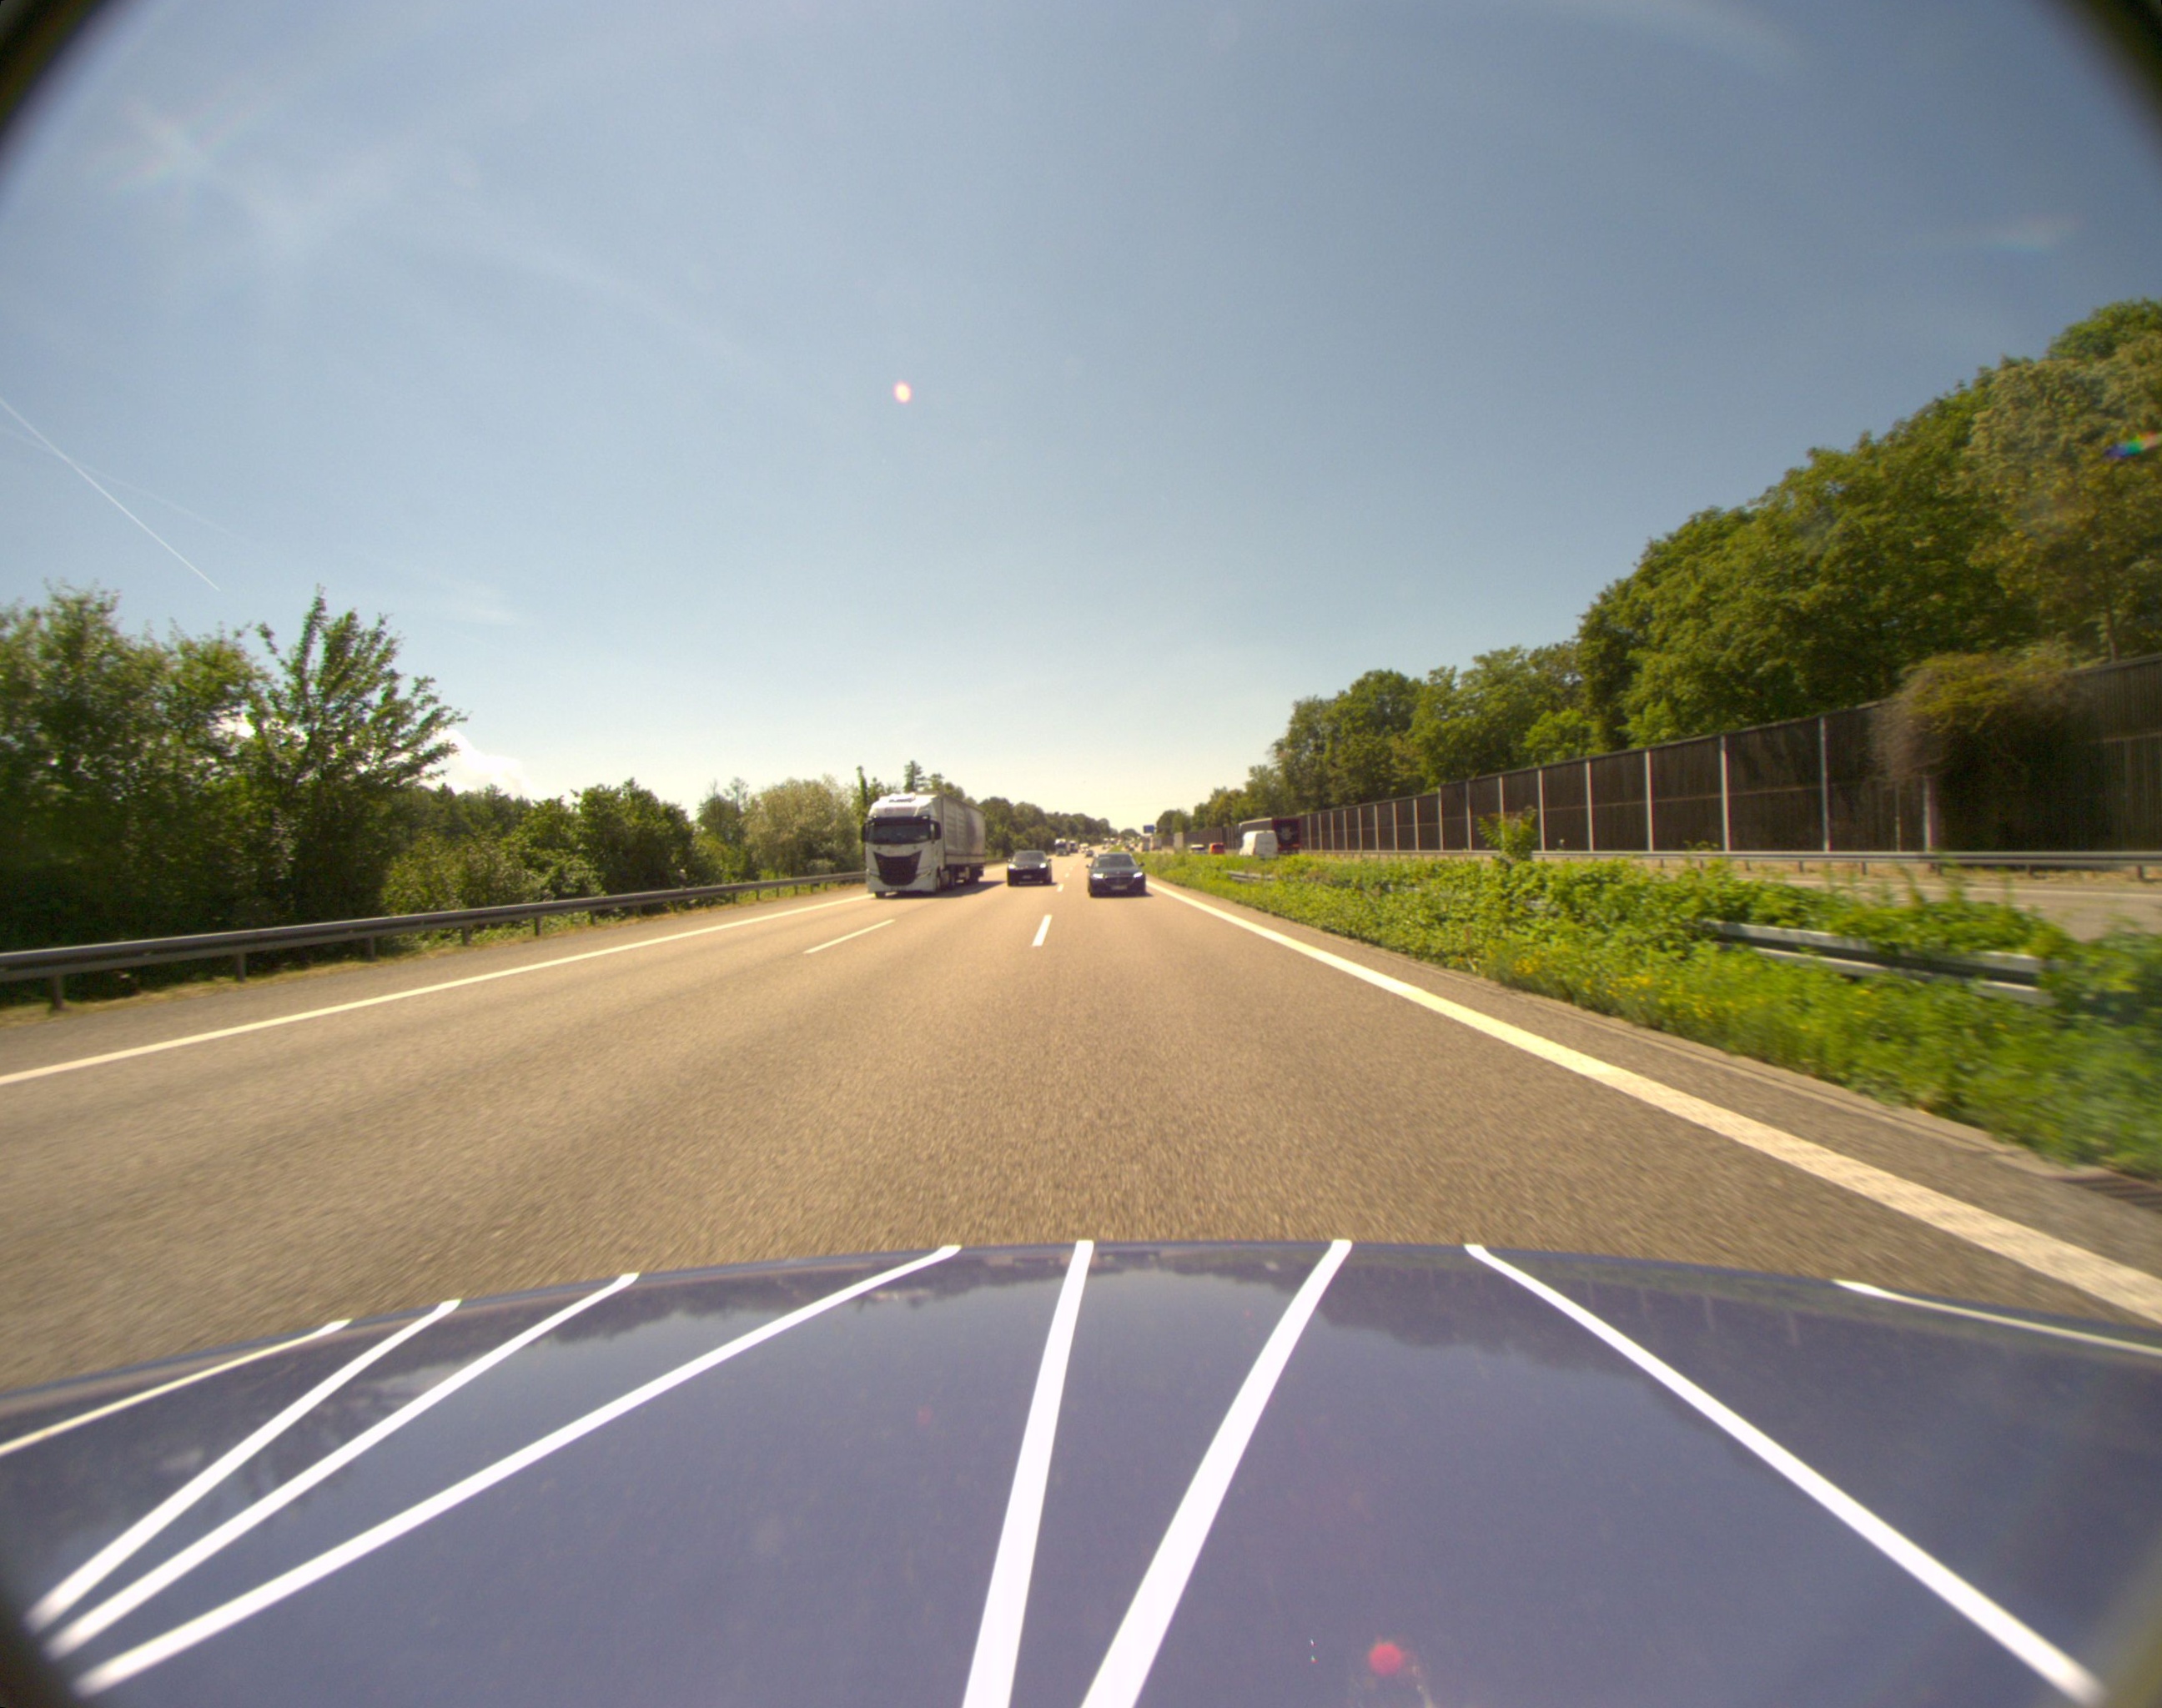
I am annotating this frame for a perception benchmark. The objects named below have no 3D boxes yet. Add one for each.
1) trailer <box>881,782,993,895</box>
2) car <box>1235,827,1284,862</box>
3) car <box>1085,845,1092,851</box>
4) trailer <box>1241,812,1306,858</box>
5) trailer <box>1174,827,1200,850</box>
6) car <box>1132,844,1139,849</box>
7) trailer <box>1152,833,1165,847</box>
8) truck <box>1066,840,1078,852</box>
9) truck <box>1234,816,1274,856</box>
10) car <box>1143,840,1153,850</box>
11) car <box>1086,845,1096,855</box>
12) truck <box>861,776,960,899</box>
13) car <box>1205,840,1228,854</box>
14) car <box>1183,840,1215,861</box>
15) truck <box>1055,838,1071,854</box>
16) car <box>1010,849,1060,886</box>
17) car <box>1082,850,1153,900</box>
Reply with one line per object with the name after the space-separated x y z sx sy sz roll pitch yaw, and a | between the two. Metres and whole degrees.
-6.614 -0.707 37.669 2.542 4.446 14.158 -2 1 1 | trailer
14.332 -0.731 61.490 2.170 2.526 6.788 -4 0 0 | car
2.253 -1.856 229.674 1.909 1.717 4.870 -2 1 1 | car
18.834 -1.817 75.540 2.906 4.069 13.330 -2 1 0 | trailer
19.818 -2.807 142.719 2.970 4.006 13.805 -2 1 0 | trailer
15.870 -2.252 220.865 1.804 1.439 3.999 -2 1 0 | car
22.963 -4.082 225.565 3.100 4.006 13.006 -2 1 2 | trailer
-2.708 -2.514 235.734 3.074 3.618 12.400 -2 1 1 | truck
18.819 -1.916 83.189 2.906 4.069 6.116 -2 1 0 | truck
18.120 -2.485 206.506 2.136 2.494 5.706 -1 1 1 | car
1.876 -0.712 143.319 1.909 1.717 4.375 -2 1 1 | car
-6.710 -0.629 30.744 2.542 4.446 5.572 -2 1 1 | truck
19.370 -0.945 108.898 1.999 1.870 5.959 -2 1 -1 | car
10.643 -0.353 68.790 2.000 1.710 5.023 -4 0 0 | car
-4.287 -1.931 183.738 3.074 3.618 12.400 -2 1 1 | truck
-2.218 0.601 37.960 2.049 1.616 5.771 -2 0 0 | car
1.164 0.655 26.863 1.949 1.498 5.819 -2 0 -2 | car
